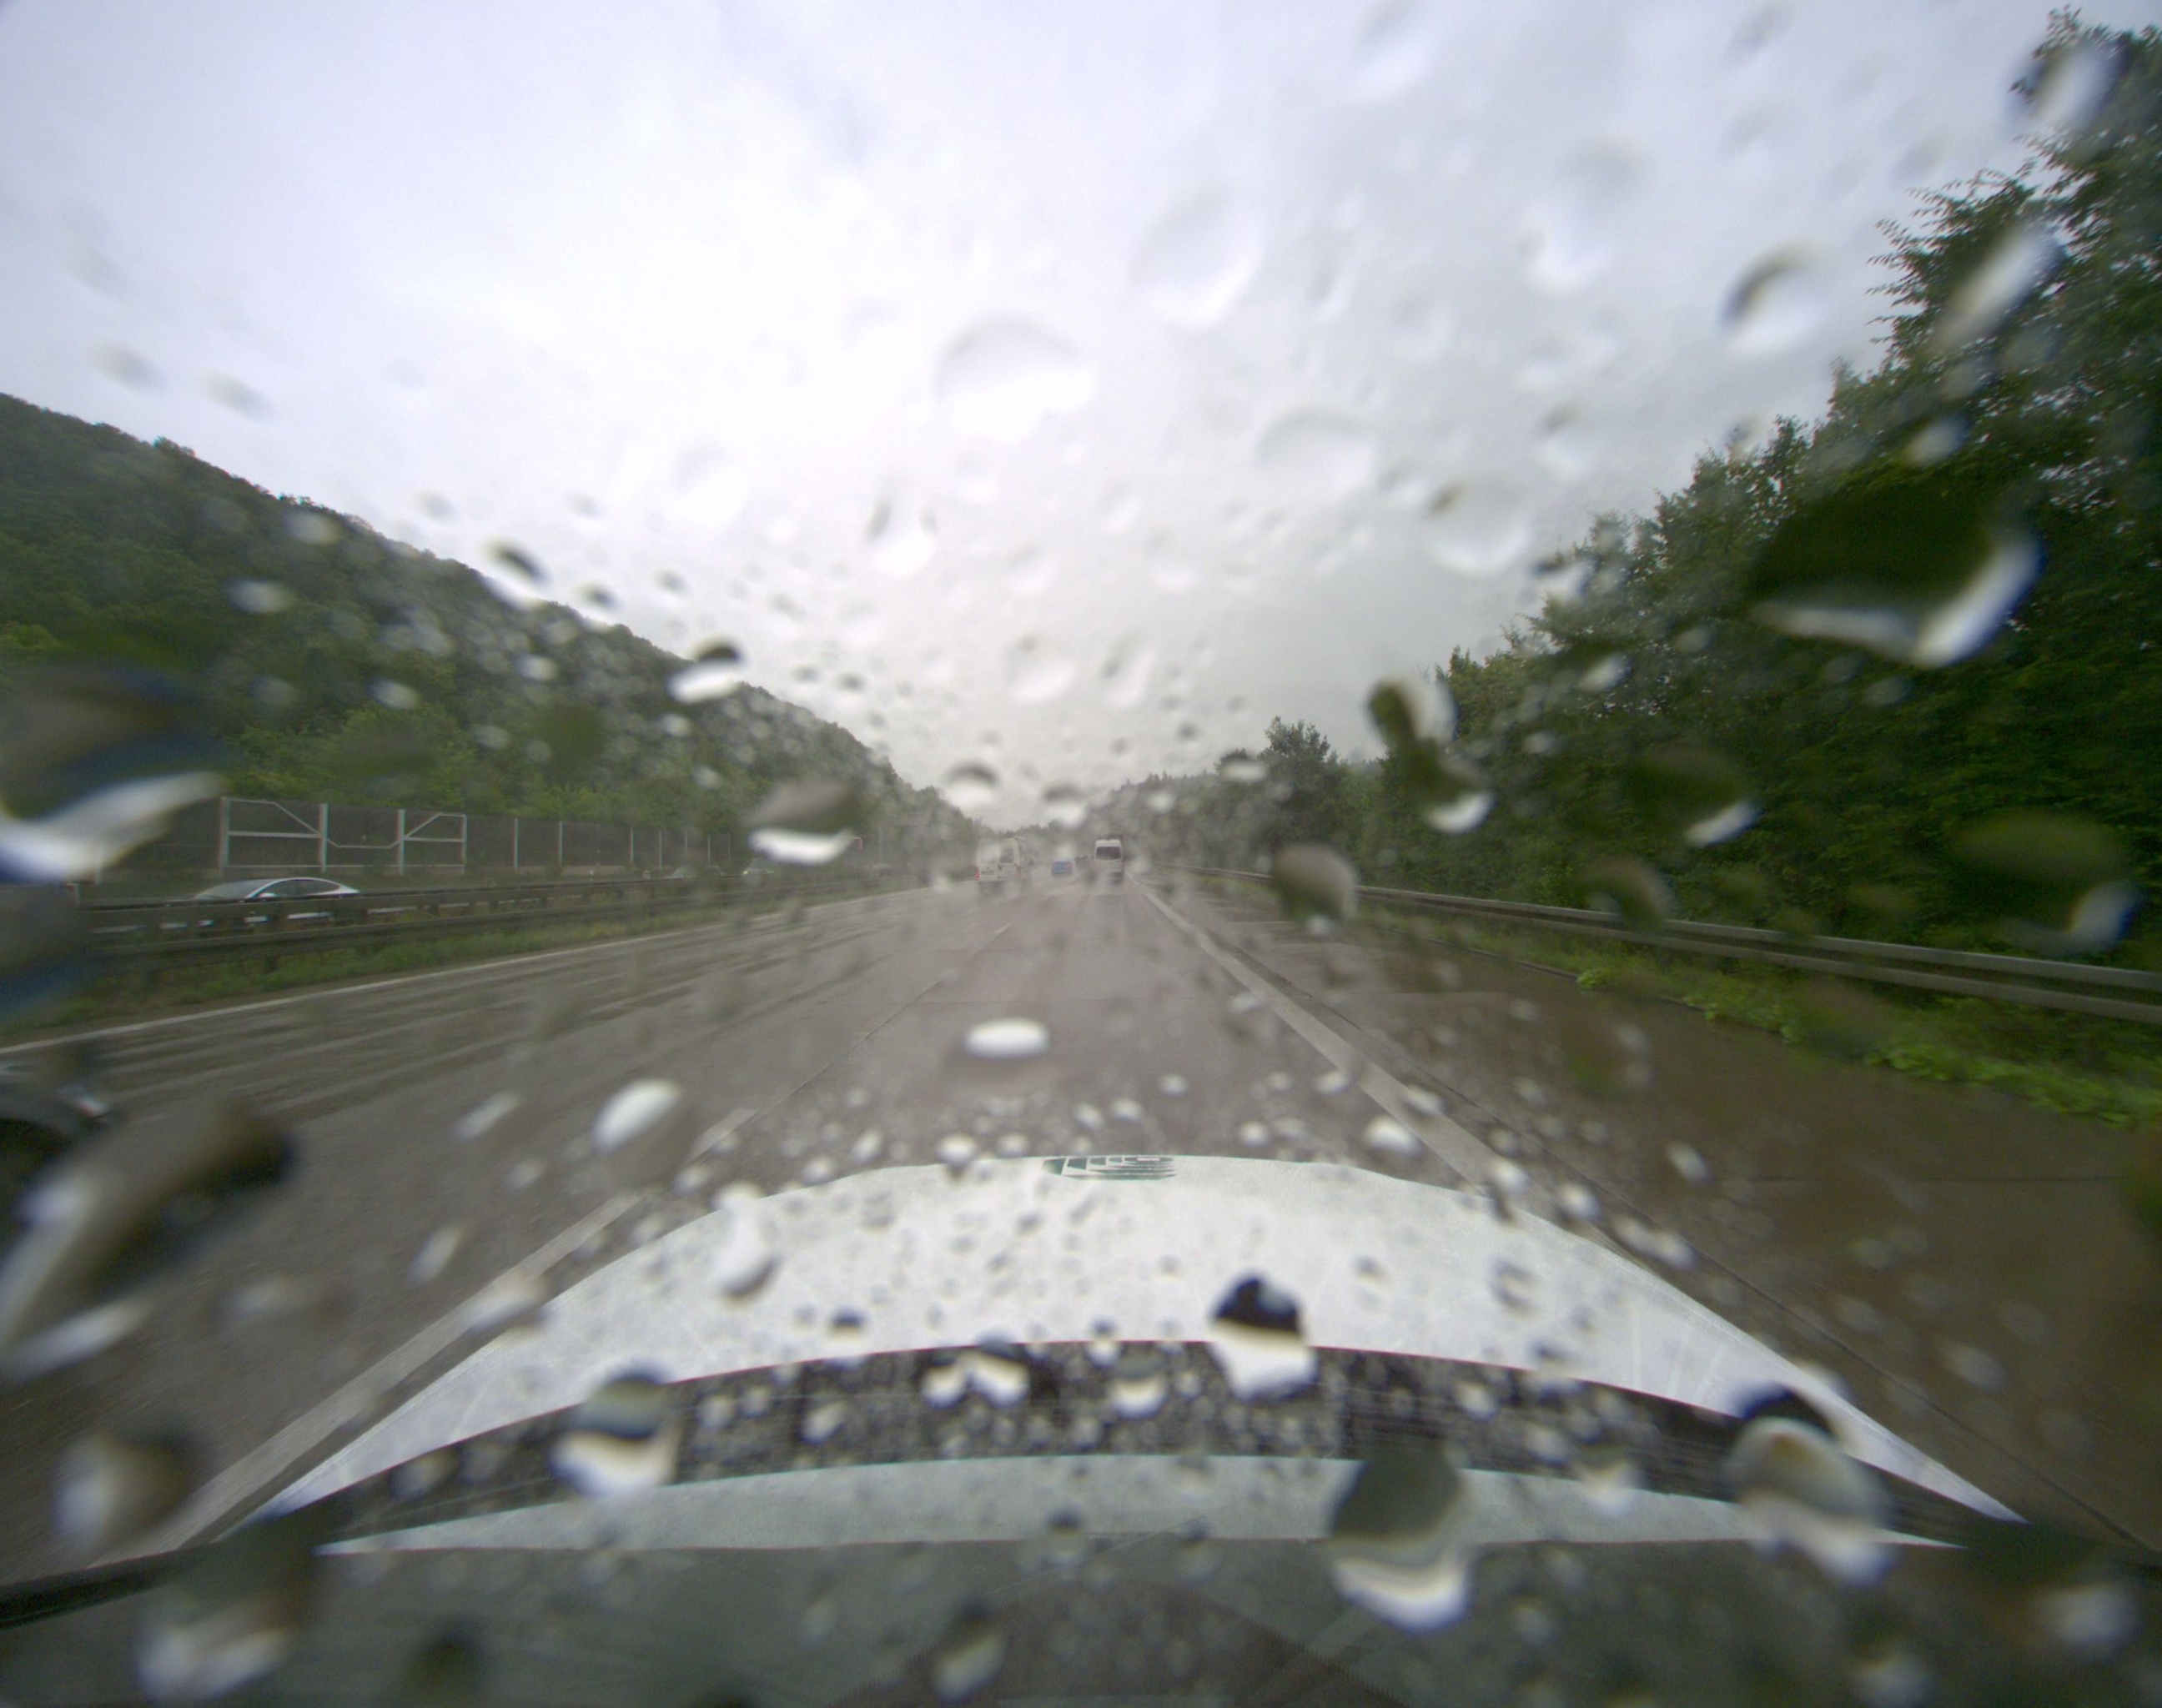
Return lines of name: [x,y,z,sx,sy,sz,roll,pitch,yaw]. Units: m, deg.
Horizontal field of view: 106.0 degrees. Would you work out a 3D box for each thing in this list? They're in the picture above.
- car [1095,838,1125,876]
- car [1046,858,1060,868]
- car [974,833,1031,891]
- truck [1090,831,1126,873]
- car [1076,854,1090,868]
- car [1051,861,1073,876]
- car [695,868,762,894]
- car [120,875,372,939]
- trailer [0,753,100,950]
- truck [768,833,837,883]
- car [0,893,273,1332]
car: [1.867,0.197,53.611,1.893,2.334,5.251,0,0,1]
car: [-3.711,1.186,108.623,1.851,1.339,4.349,0,0,-1]
car: [-3.487,0.341,37.247,1.991,2.432,5.791,0,0,1]
truck: [2.799,-0.368,84.140,3.372,3.967,8.670,-2,2,1]
car: [0.306,0.940,108.903,1.862,1.810,4.189,0,0,1]
car: [-1.701,1.268,72.435,1.851,1.339,4.349,0,0,-1]
car: [-19.498,1.466,45.256,1.746,1.339,4.425,0,0,1]
car: [-20.784,1.250,20.605,1.746,1.339,4.425,0,0,1]
trailer: [-24.234,-0.068,14.586,2.838,4.154,8.526,0,0,1]
truck: [-22.702,0.317,66.897,2.764,3.801,7.684,0,0,2]
car: [-4.428,0.873,1.358,1.734,1.388,4.323,-2,-1,2]
